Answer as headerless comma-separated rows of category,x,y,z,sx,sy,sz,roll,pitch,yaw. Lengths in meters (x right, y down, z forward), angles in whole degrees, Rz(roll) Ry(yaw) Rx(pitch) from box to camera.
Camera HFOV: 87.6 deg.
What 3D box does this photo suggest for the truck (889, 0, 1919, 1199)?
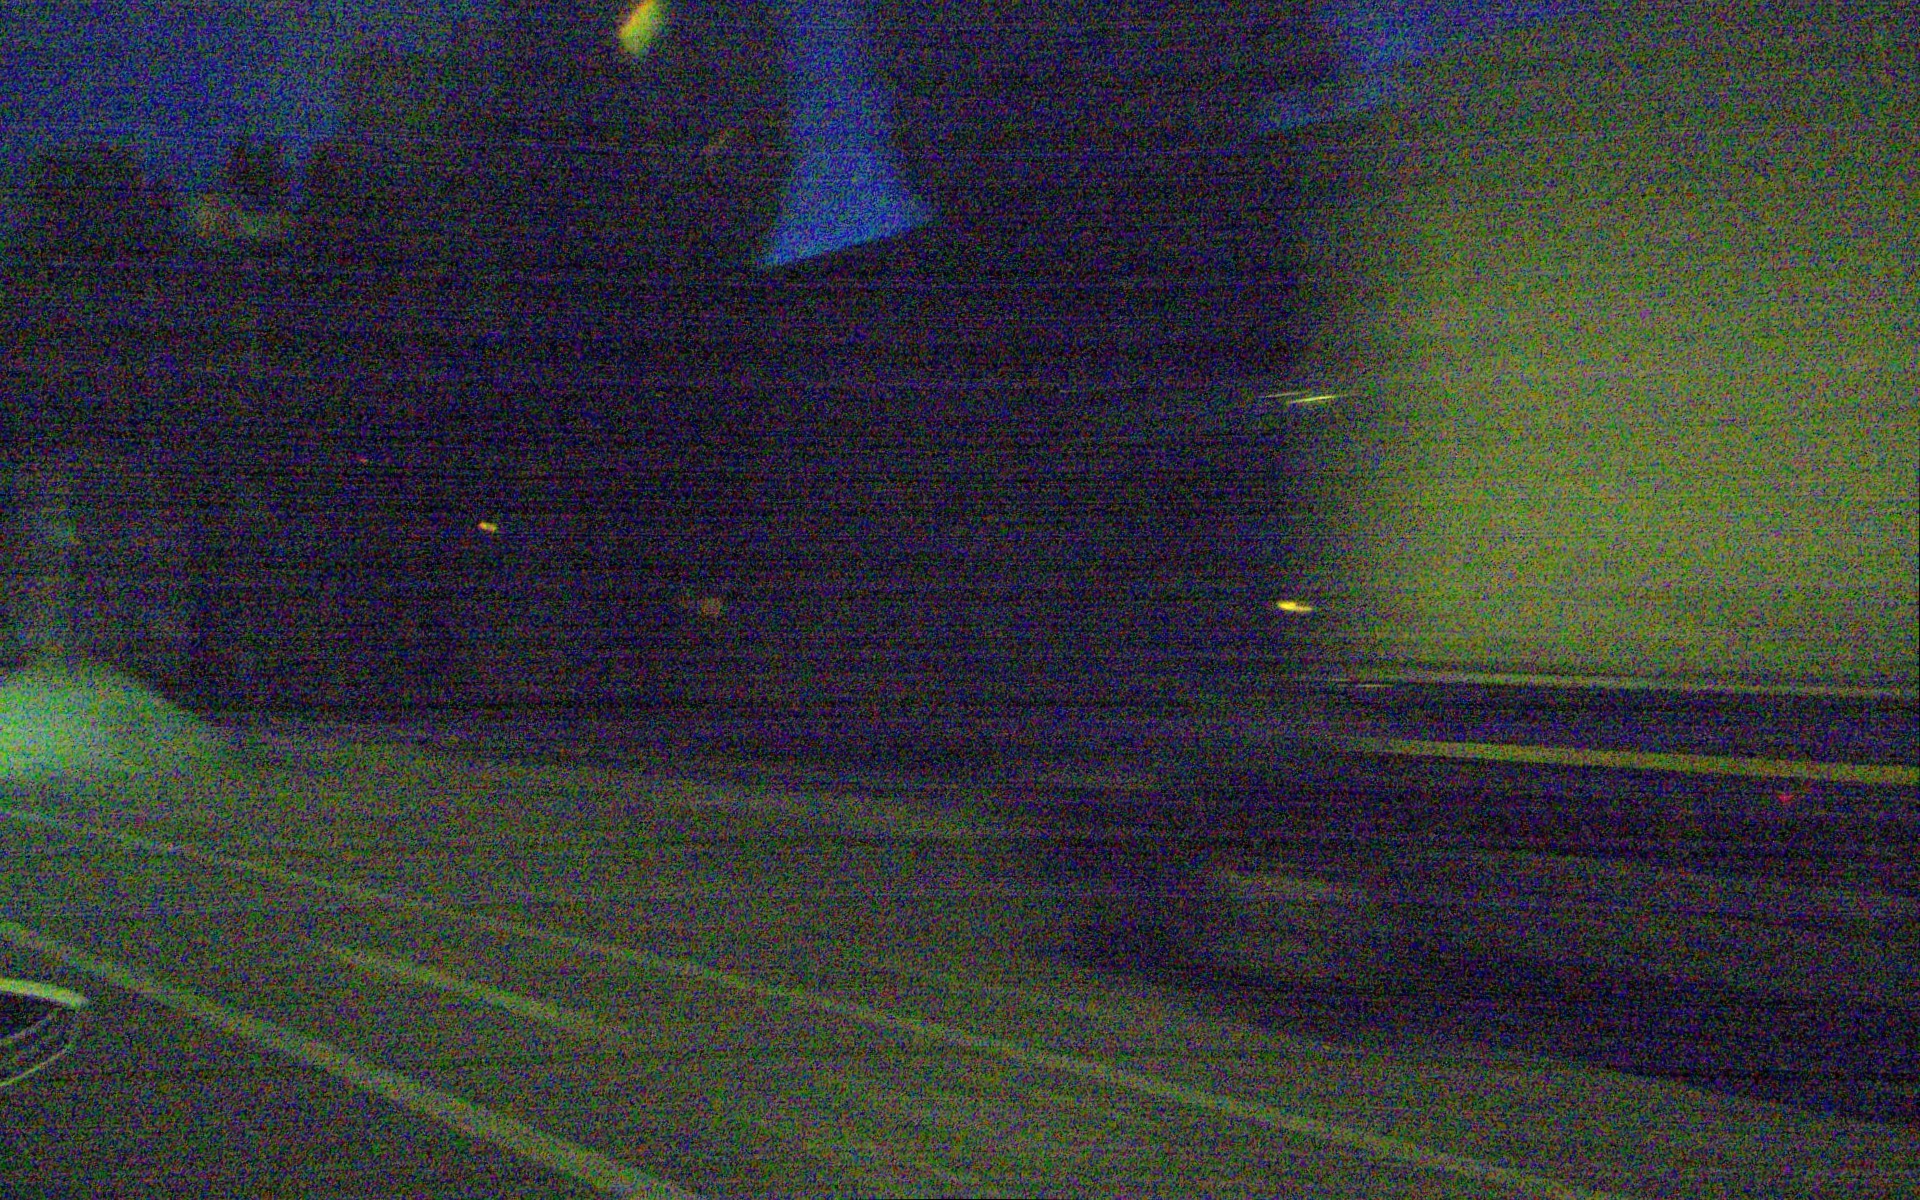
truck,4.658,-0.190,3.127,10.079,3.831,2.751,-1,-2,32
